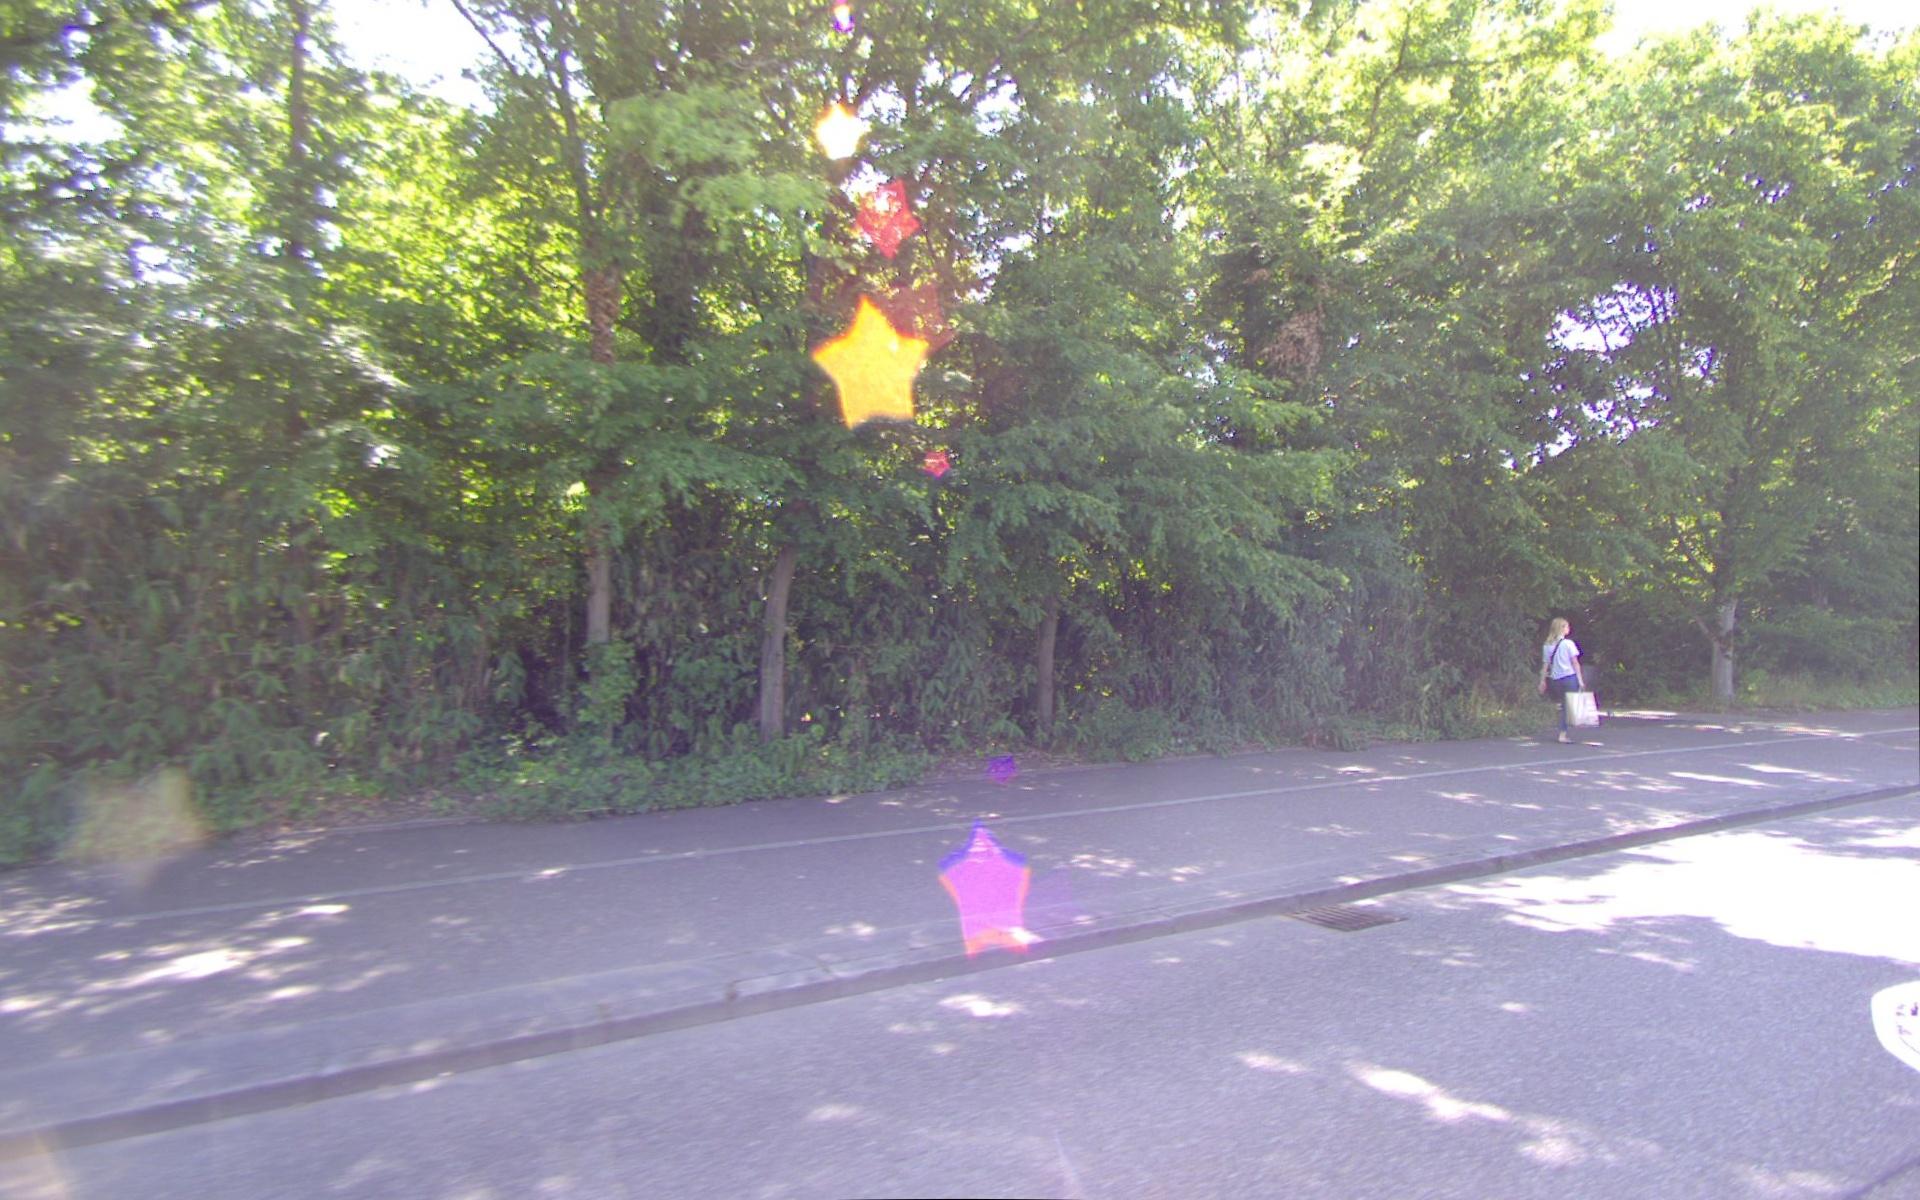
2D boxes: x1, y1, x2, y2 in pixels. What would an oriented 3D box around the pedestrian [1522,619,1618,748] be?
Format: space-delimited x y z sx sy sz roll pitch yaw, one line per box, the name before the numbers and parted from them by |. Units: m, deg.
pedestrian | 8.153 1.087 13.435 0.774 1.644 0.824 0 -1 -31
